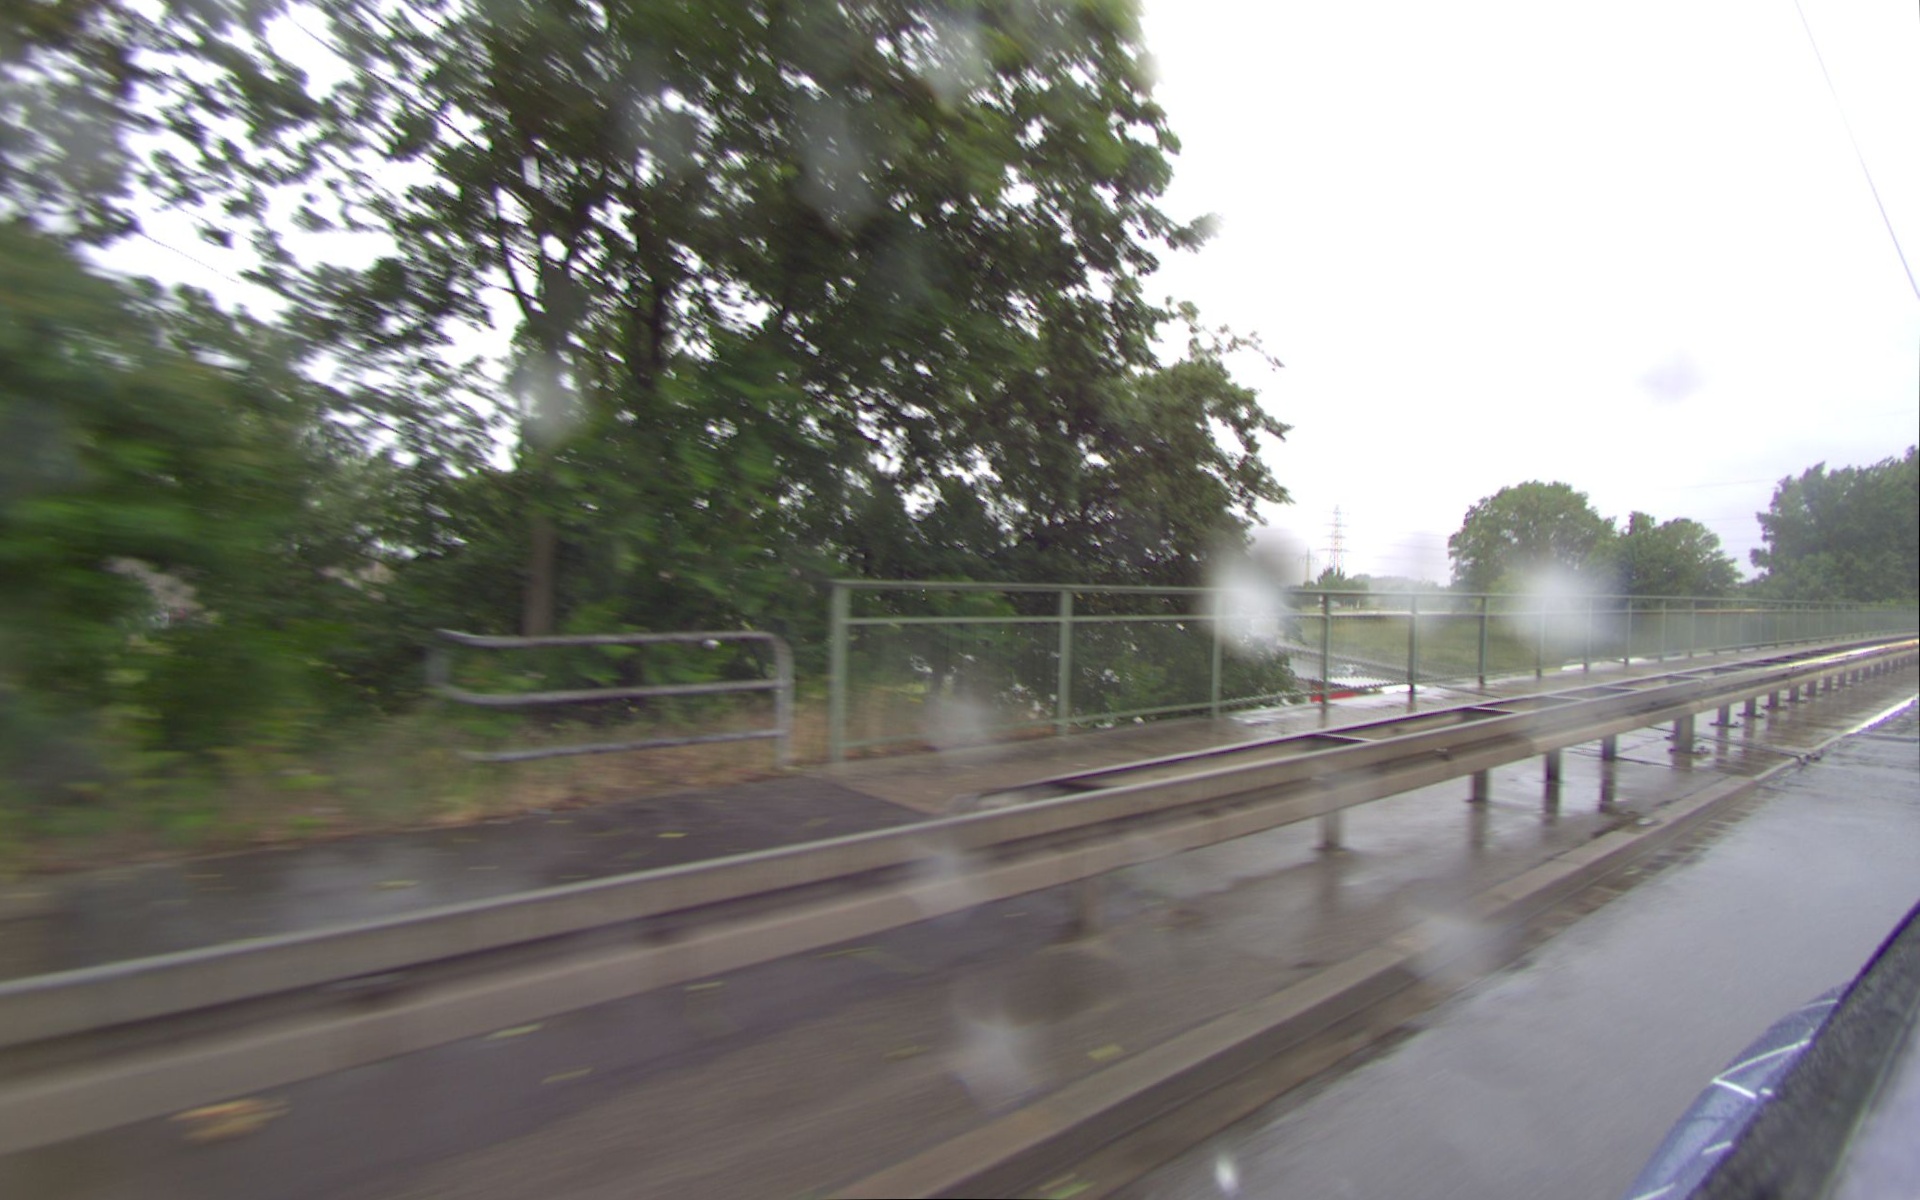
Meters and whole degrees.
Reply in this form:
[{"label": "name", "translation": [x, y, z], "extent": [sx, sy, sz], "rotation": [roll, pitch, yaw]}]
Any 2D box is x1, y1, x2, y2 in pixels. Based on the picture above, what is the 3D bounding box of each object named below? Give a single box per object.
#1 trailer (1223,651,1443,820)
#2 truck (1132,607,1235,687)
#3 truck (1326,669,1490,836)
[{"label": "trailer", "translation": [15.949, 5.461, 45.216], "extent": [3.079, 5.009, 13.870], "rotation": [0, 3, -7]}, {"label": "truck", "translation": [15.519, 3.066, 71.661], "extent": [3.079, 4.497, 12.404], "rotation": [0, 3, -7]}, {"label": "truck", "translation": [16.866, 5.579, 38.605], "extent": [3.079, 5.177, 5.815], "rotation": [0, 2, -7]}]
